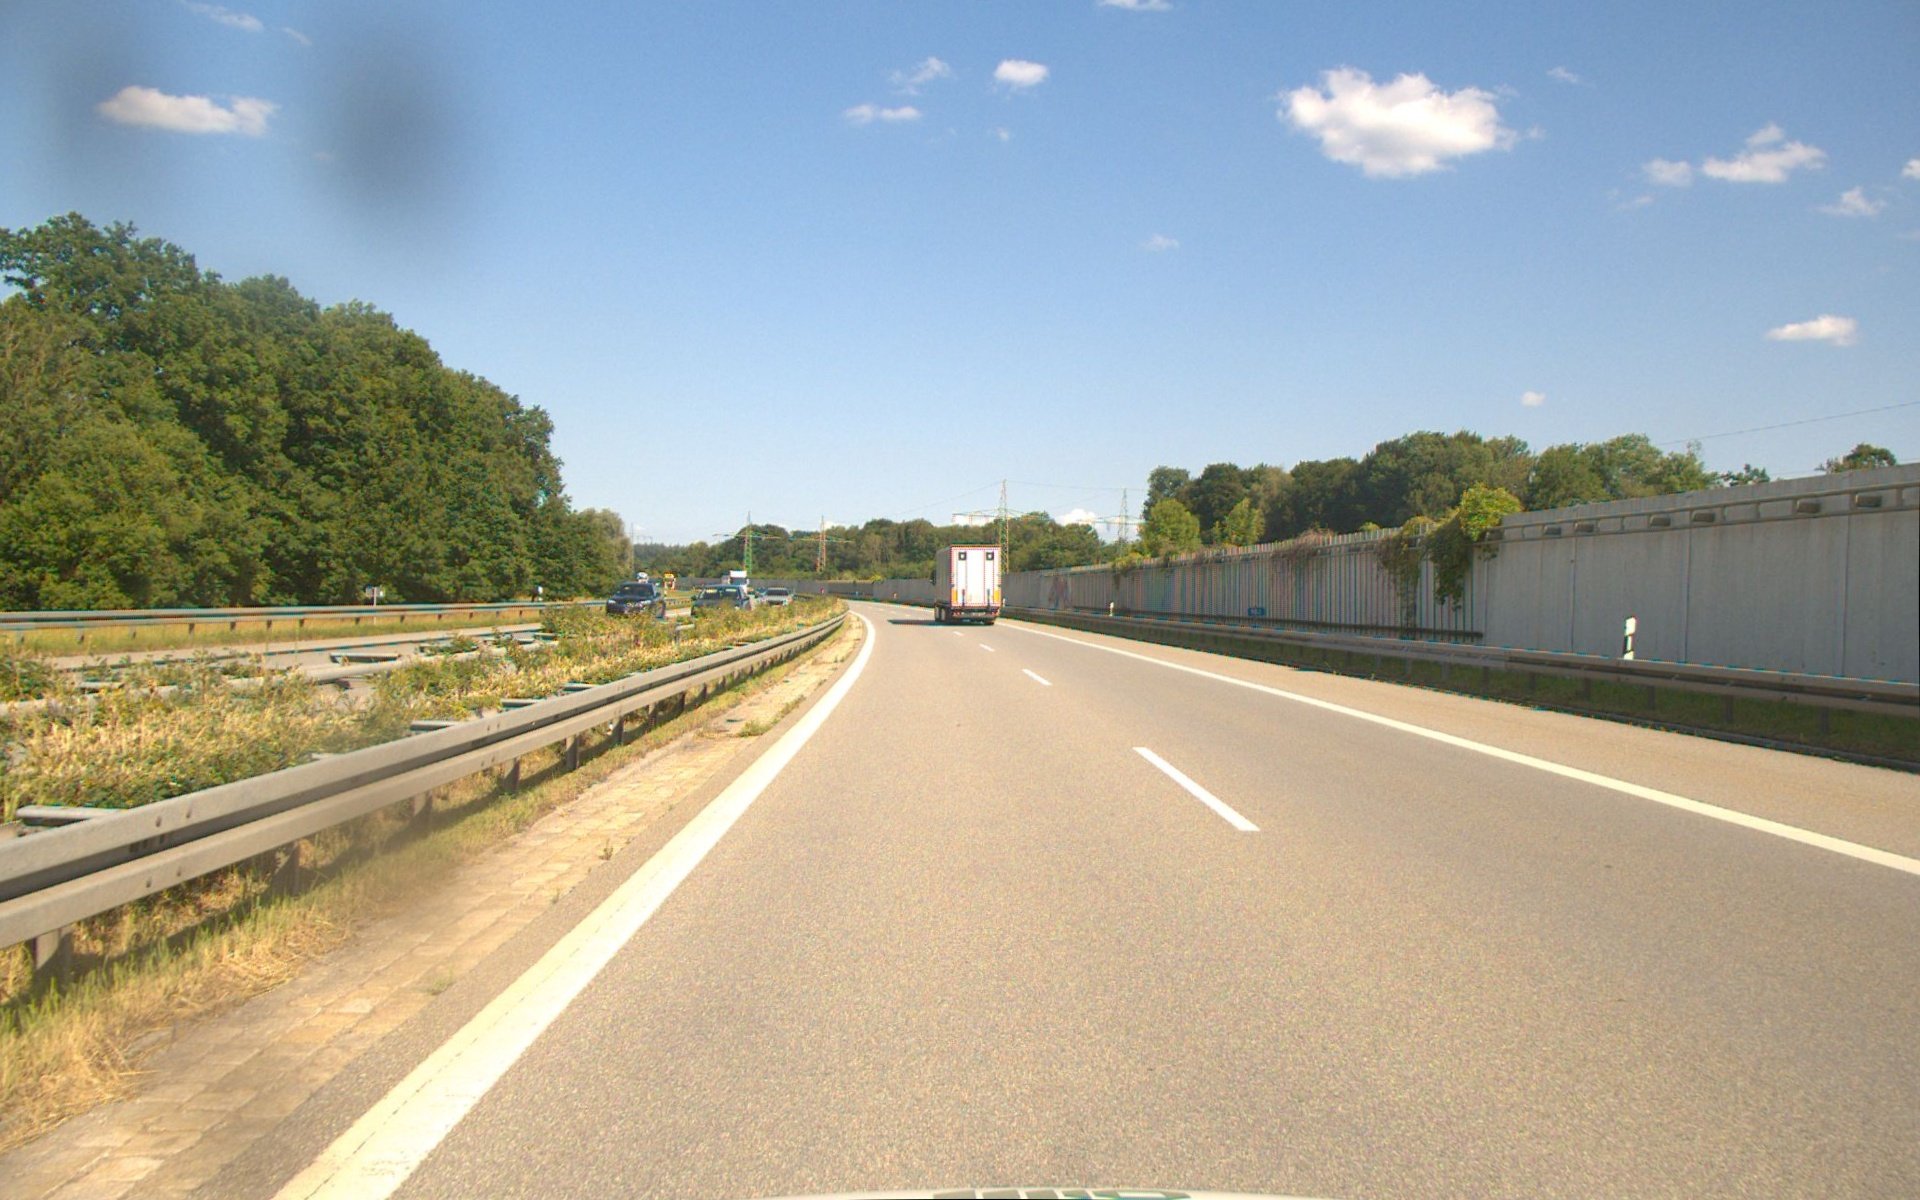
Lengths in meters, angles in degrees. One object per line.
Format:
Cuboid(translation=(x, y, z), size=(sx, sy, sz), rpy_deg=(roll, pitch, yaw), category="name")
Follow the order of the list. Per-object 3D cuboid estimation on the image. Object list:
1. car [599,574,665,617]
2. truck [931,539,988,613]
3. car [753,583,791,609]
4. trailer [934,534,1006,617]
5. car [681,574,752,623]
Cuboid(translation=(-12.981, -0.174, 65.703), size=(1.816, 1.663, 4.492), rpy_deg=(0, 0, -2), category="car")
Cuboid(translation=(-0.101, -1.344, 95.276), size=(2.775, 4.082, 6.581), rpy_deg=(1, 0, -4), category="truck")
Cuboid(translation=(-11.331, -0.249, 99.711), size=(1.892, 1.531, 4.791), rpy_deg=(0, 0, -2), category="car")
Cuboid(translation=(0.398, -1.256, 89.484), size=(2.828, 4.137, 12.408), rpy_deg=(1, 0, -4), category="trailer")
Cuboid(translation=(-7.832, -0.048, 53.518), size=(1.816, 1.508, 3.999), rpy_deg=(0, 0, -2), category="car")
